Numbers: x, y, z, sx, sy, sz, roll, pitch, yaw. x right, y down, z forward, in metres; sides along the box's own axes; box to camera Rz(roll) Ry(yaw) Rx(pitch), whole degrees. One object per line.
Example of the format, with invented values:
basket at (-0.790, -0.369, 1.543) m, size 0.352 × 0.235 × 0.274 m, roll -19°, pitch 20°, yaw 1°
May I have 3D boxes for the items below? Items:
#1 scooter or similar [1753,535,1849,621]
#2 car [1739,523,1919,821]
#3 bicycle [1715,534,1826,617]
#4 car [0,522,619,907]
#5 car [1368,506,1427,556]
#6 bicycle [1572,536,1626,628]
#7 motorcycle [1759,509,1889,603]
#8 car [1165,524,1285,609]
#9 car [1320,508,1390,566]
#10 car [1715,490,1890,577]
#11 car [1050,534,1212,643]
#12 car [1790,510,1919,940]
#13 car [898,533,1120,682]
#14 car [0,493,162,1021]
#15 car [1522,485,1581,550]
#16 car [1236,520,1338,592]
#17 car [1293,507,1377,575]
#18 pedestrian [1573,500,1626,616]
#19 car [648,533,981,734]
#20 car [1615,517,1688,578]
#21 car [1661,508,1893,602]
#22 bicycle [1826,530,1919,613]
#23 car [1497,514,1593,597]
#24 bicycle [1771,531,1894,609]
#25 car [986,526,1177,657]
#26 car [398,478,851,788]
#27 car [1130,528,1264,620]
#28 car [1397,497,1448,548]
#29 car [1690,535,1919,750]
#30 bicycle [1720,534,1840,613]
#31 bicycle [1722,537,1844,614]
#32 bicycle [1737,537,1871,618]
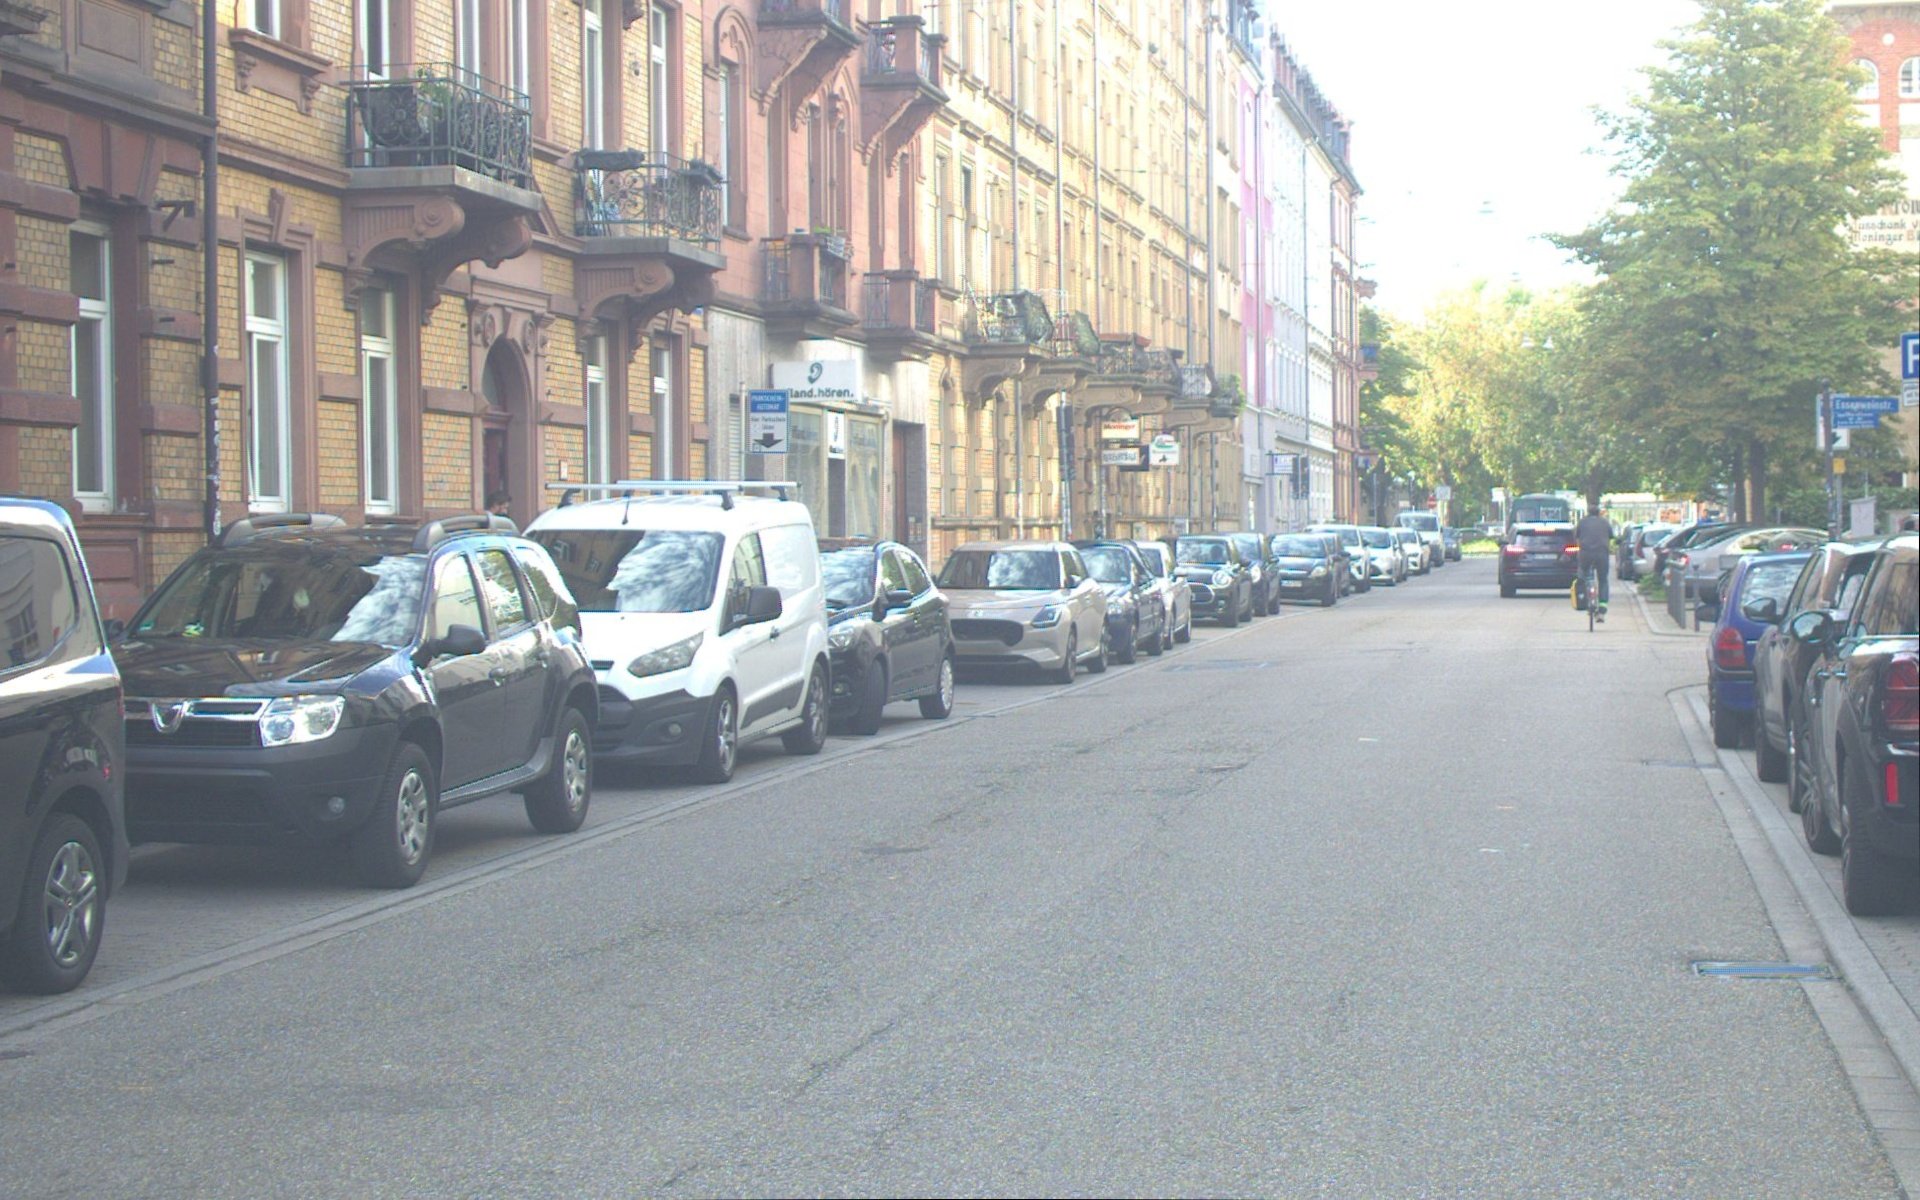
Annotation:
scooter or similar at (11.775, -0.302, 48.158) m, size 1.208 × 1.143 × 0.378 m, roll -2°, pitch 3°, yaw 43°
car at (5.571, 0.338, 20.134) m, size 1.689 × 1.572 × 3.901 m, roll -1°, pitch 1°, yaw 9°
bicycle at (11.848, -0.358, 50.290) m, size 1.495 × 1.142 × 0.411 m, roll -3°, pitch 1°, yaw 6°
car at (-3.179, 0.440, 16.818) m, size 1.994 × 1.632 × 4.144 m, roll 0°, pitch 1°, yaw 9°
car at (14.019, -2.205, 109.998) m, size 1.691 × 1.545 × 3.866 m, roll 1°, pitch 1°, yaw 10°
bicycle at (9.245, -0.274, 49.683) m, size 0.718 × 1.270 × 1.883 m, roll 1°, pitch 2°, yaw 11°
motorcycle at (15.176, -0.775, 60.376) m, size 2.152 × 1.525 × 0.686 m, roll -2°, pitch 1°, yaw 15°
car at (4.705, -0.619, 60.701) m, size 1.691 × 1.432 × 3.865 m, roll 1°, pitch 1°, yaw 10°
car at (10.938, -1.754, 95.045) m, size 1.691 × 1.545 × 3.866 m, roll 1°, pitch 1°, yaw 10°
car at (20.302, -1.606, 82.869) m, size 3.989 × 1.678 × 1.736 m, roll -2°, pitch 9°, yaw 15°
car at (2.361, -0.193, 46.683) m, size 1.691 × 1.382 × 3.865 m, roll 1°, pitch 1°, yaw 10°
car at (4.644, 0.401, 14.907) m, size 1.793 × 1.600 × 3.922 m, roll -3°, pitch 1°, yaw 11°
car at (0.586, 0.038, 37.051) m, size 1.742 × 1.478 × 3.982 m, roll 1°, pitch 1°, yaw 10°
car at (-4.212, 0.531, 10.794) m, size 1.760 × 1.767 × 4.404 m, roll 1°, pitch 2°, yaw 9°
car at (18.823, -2.627, 109.434) m, size 1.783 × 2.013 × 3.886 m, roll 1°, pitch 2°, yaw 10°
car at (6.763, -0.926, 70.767) m, size 1.691 × 1.364 × 3.865 m, roll 3°, pitch 2°, yaw 10°
car at (9.077, -1.444, 83.067) m, size 1.691 × 1.544 × 3.866 m, roll 1°, pitch 2°, yaw 11°
pedestrian at (9.275, -0.618, 49.821) m, size 0.718 × 1.644 × 0.930 m, roll 1°, pitch 2°, yaw 11°
car at (-1.102, 0.214, 28.057) m, size 1.742 × 1.478 × 3.981 m, roll 1°, pitch 1°, yaw 12°
car at (19.186, -1.477, 95.469) m, size 1.931 × 1.632 × 3.998 m, roll 1°, pitch 2°, yaw 11°
car at (14.872, -0.810, 62.712) m, size 3.760 × 1.541 × 1.731 m, roll -2°, pitch 0°, yaw 1°
bicycle at (13.418, -0.422, 50.043) m, size 1.496 × 1.142 × 0.411 m, roll -3°, pitch 1°, yaw 11°
car at (12.810, -0.965, 75.168) m, size 1.966 × 1.735 × 4.039 m, roll 1°, pitch 1°, yaw 11°
bicycle at (13.855, -0.475, 54.599) m, size 1.798 × 1.155 × 0.499 m, roll -2°, pitch 2°, yaw 37°
car at (1.527, -0.144, 41.908) m, size 1.742 × 1.478 × 3.982 m, roll 1°, pitch 1°, yaw 10°
car at (-2.111, 0.130, 22.995) m, size 1.920 × 1.865 × 4.435 m, roll 0°, pitch 2°, yaw 10°
car at (3.811, -0.438, 54.766) m, size 1.691 × 1.382 × 3.865 m, roll 1°, pitch 1°, yaw 10°
car at (16.970, -2.835, 126.080) m, size 1.691 × 1.815 × 3.866 m, roll 1°, pitch 1°, yaw 10°
car at (6.344, 0.263, 25.904) m, size 1.596 × 1.434 × 4.028 m, roll -1°, pitch 1°, yaw 12°
bicycle at (12.960, -0.424, 54.361) m, size 1.795 × 1.155 × 0.500 m, roll -3°, pitch 1°, yaw 14°
bicycle at (12.624, -0.374, 52.718) m, size 1.766 × 1.095 × 0.411 m, roll -3°, pitch 1°, yaw 14°
bicycle at (11.994, -0.322, 48.871) m, size 1.766 × 1.053 × 0.411 m, roll -3°, pitch 1°, yaw 6°
